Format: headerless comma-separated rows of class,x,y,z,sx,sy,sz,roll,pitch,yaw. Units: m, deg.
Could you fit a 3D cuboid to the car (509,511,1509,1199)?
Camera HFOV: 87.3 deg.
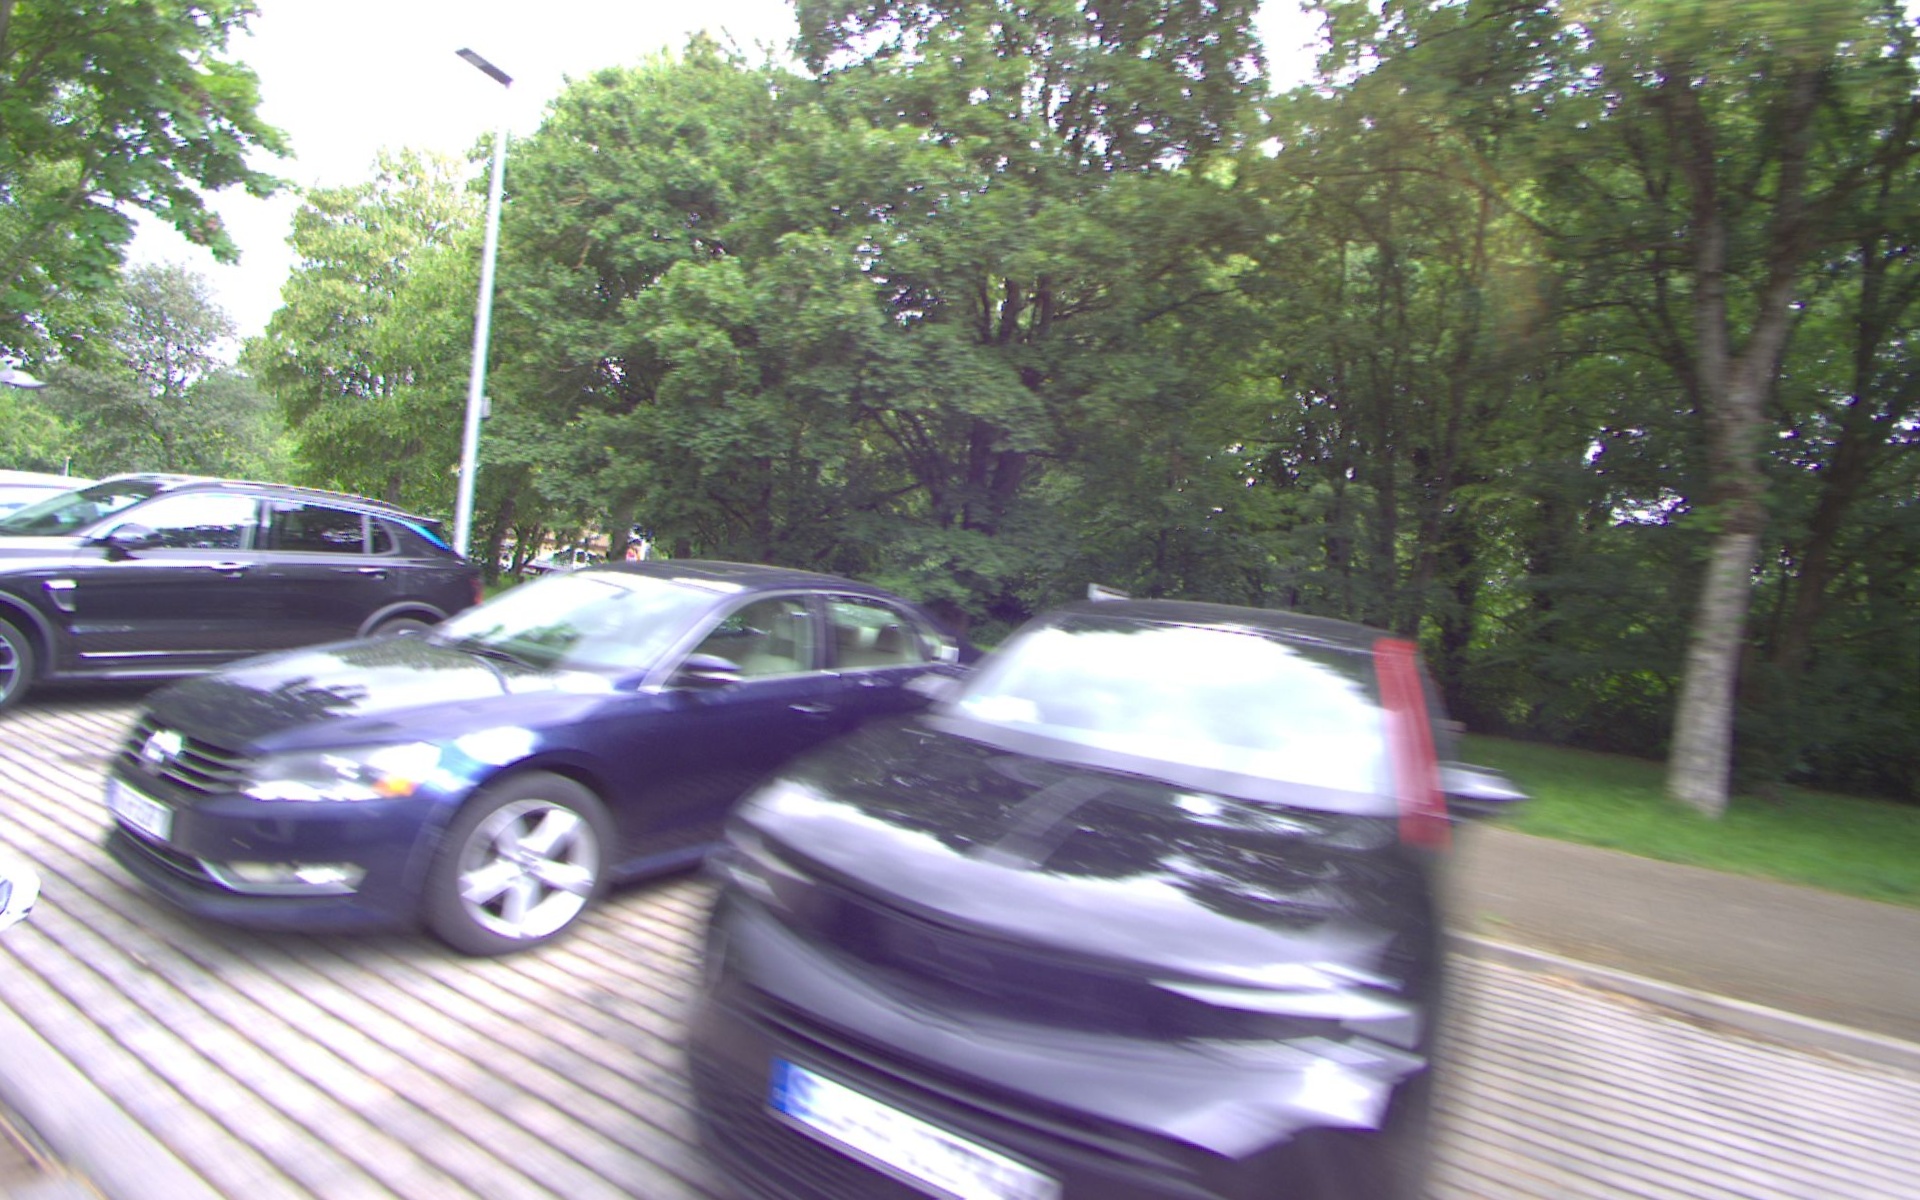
car,0.788,0.736,3.626,1.819,1.537,4.078,7,1,27

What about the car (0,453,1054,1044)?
car,-1.516,0.433,5.175,1.950,1.537,4.637,8,2,32

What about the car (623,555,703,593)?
car,-21.883,-1.904,74.419,2.105,2.082,5.318,7,0,37

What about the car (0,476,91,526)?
car,-39.539,-4.268,42.626,1.741,1.689,3.776,7,0,38

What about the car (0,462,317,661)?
car,-8.075,-0.372,9.024,1.766,1.595,3.381,8,2,31

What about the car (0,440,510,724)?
car,-6.021,-0.167,7.479,2.047,1.698,4.418,8,2,31

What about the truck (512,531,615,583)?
truck,-24.527,-2.638,62.418,2.160,2.456,5.504,7,0,37

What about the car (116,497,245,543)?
car,-36.177,-3.704,46.780,1.677,1.445,4.392,7,0,37

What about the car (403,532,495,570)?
car,-28.909,-2.772,57.031,1.678,1.545,4.281,7,0,38
